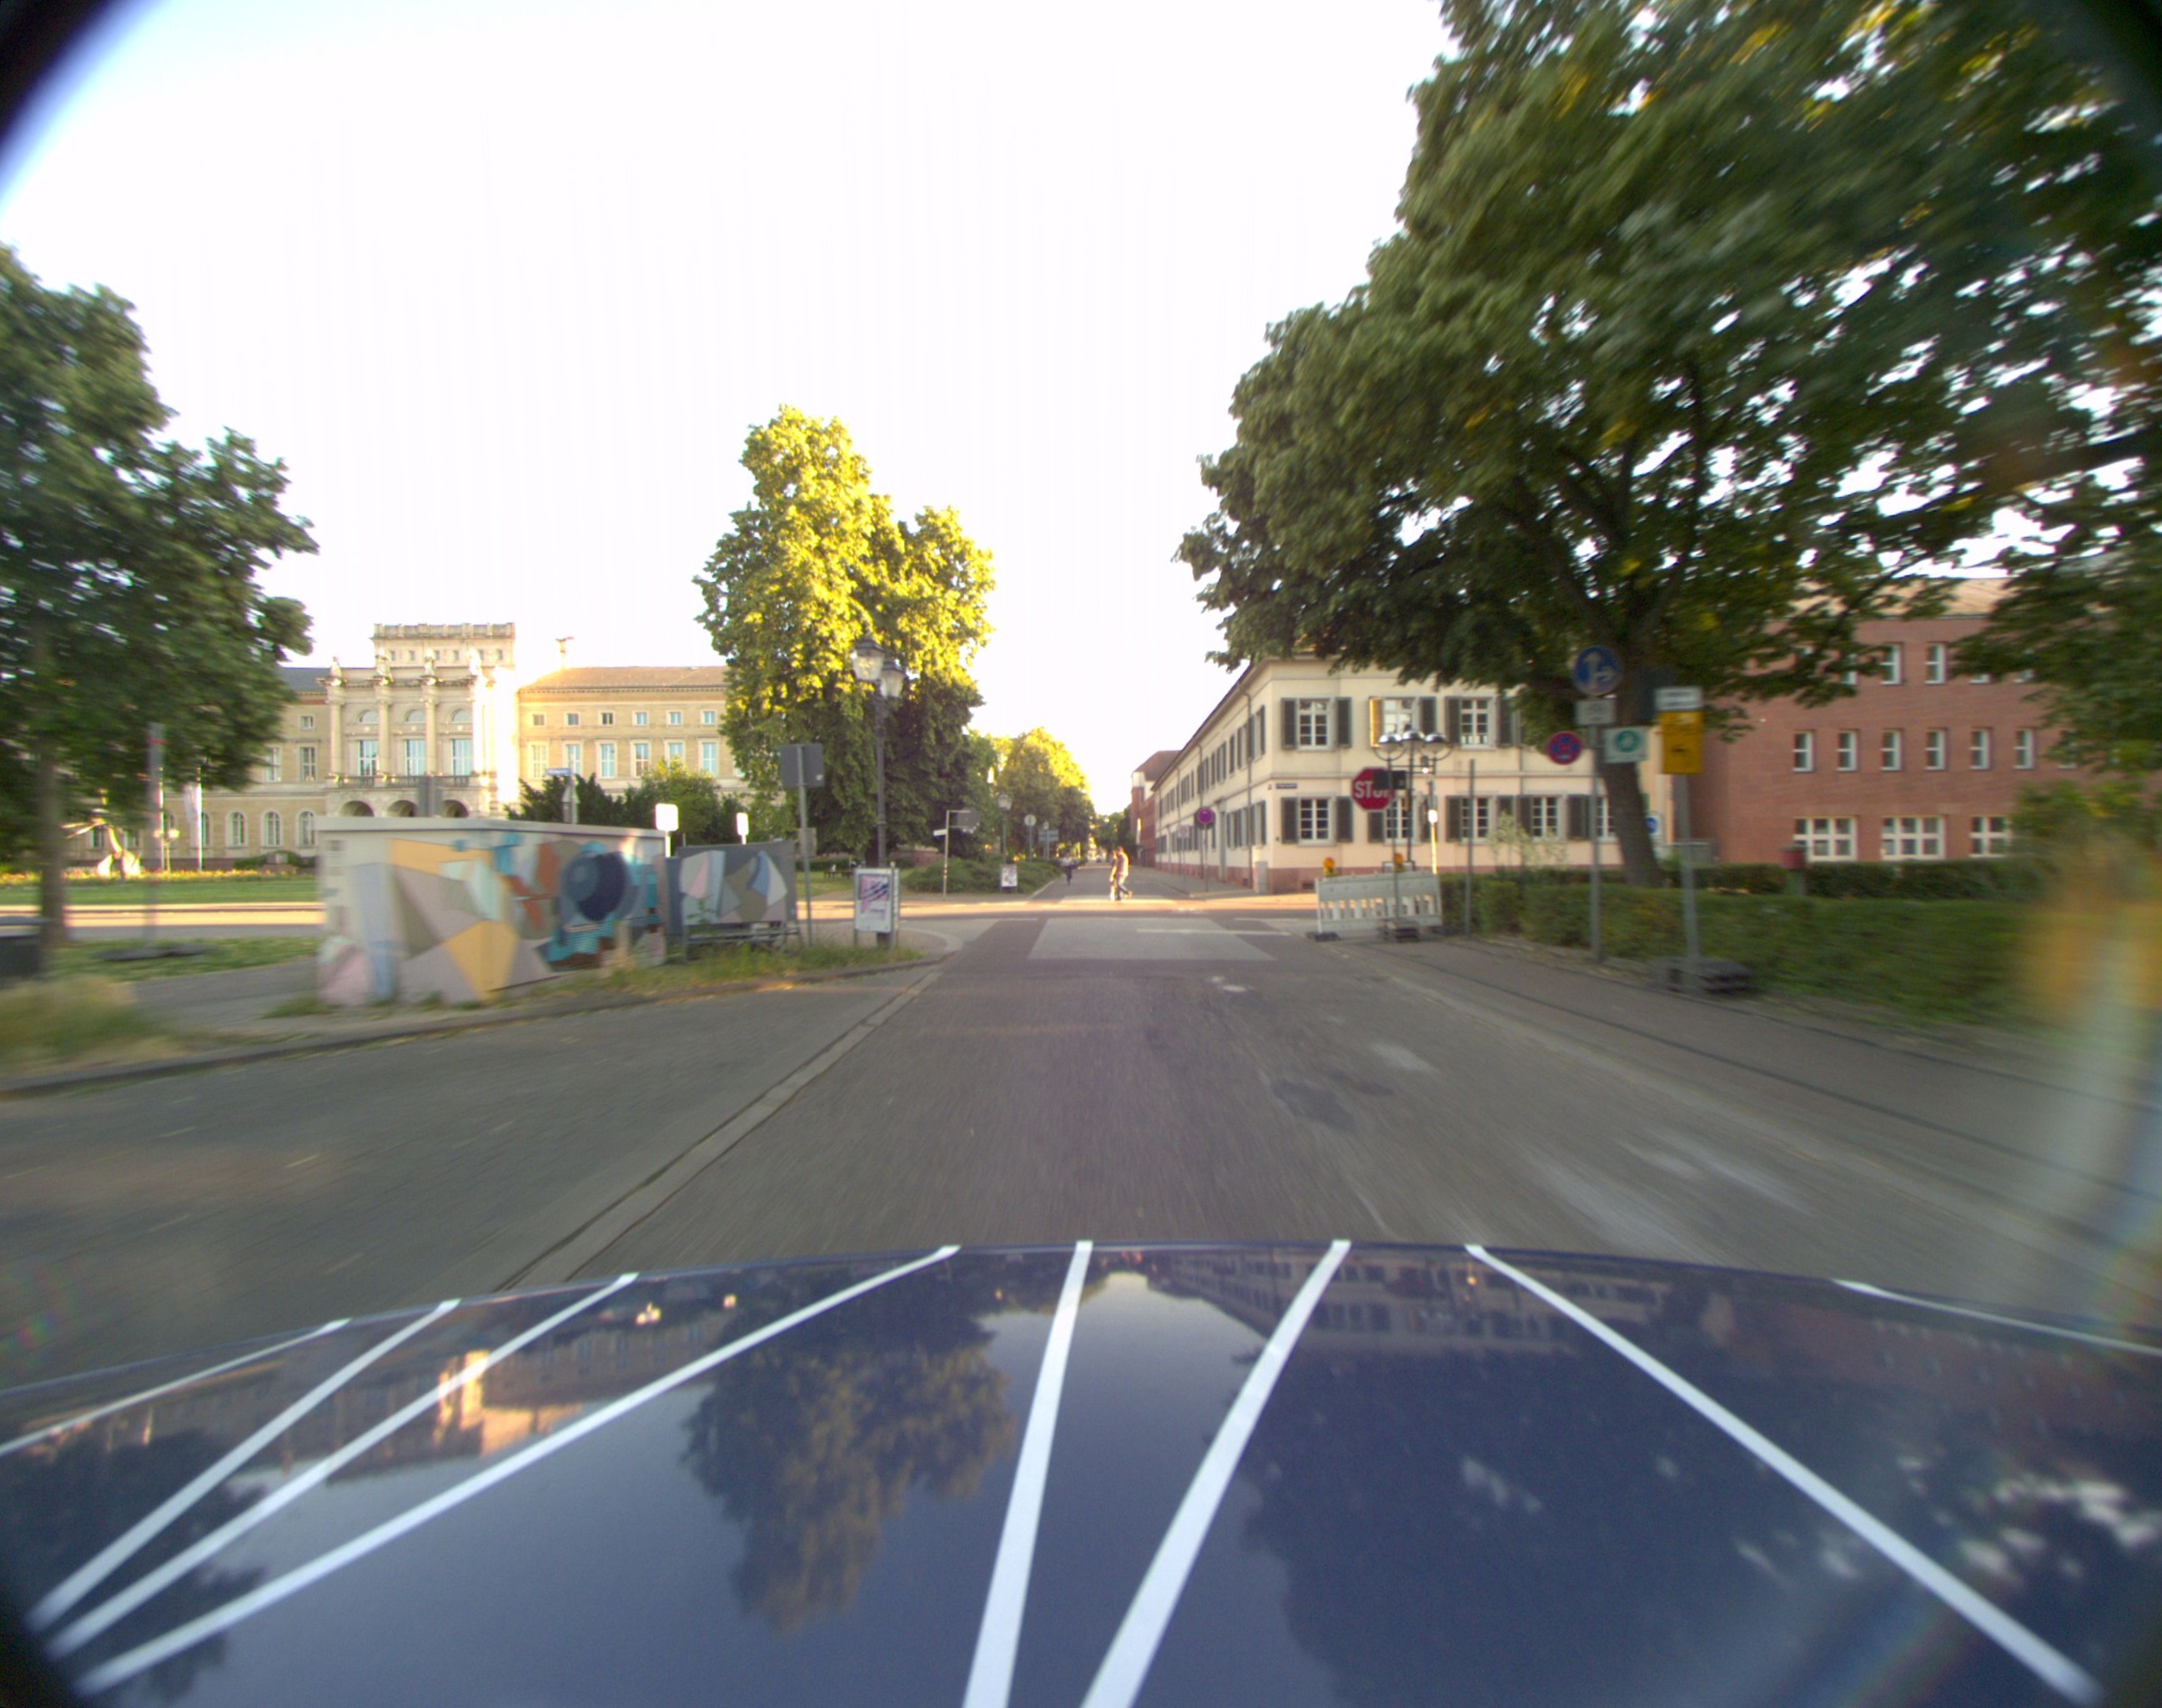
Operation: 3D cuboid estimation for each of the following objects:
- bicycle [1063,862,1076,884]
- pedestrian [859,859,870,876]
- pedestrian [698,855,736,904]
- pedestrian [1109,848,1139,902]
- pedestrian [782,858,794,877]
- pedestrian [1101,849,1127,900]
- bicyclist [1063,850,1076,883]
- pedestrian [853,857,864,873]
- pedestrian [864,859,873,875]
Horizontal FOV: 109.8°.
[{"bbox_3d":[-0.643,1.071,42.653,0.653,1.175,2.344,0,0,-2],"label":"bicycle"},{"bbox_3d":[-14.038,0.879,49.312,0.605,1.044,0.394,-1,1,-35],"label":"pedestrian"},{"bbox_3d":[-12.231,0.849,25.541,0.858,1.616,0.757,0,1,2],"label":"pedestrian"},{"bbox_3d":[1.413,0.690,25.210,0.941,1.777,0.762,0,1,-1],"label":"pedestrian"},{"bbox_3d":[-18.552,0.861,48.147,0.605,1.195,0.394,-1,1,-40],"label":"pedestrian"},{"bbox_3d":[1.120,0.702,26.017,0.859,1.730,0.649,0,1,-1],"label":"pedestrian"},{"bbox_3d":[-0.650,0.702,42.656,0.672,1.793,1.060,-1,0,-2],"label":"bicyclist"},{"bbox_3d":[-14.599,0.729,49.768,0.605,1.044,0.394,-1,1,-32],"label":"pedestrian"},{"bbox_3d":[-14.162,0.836,50.608,0.396,1.044,0.602,-1,1,-30],"label":"pedestrian"}]
